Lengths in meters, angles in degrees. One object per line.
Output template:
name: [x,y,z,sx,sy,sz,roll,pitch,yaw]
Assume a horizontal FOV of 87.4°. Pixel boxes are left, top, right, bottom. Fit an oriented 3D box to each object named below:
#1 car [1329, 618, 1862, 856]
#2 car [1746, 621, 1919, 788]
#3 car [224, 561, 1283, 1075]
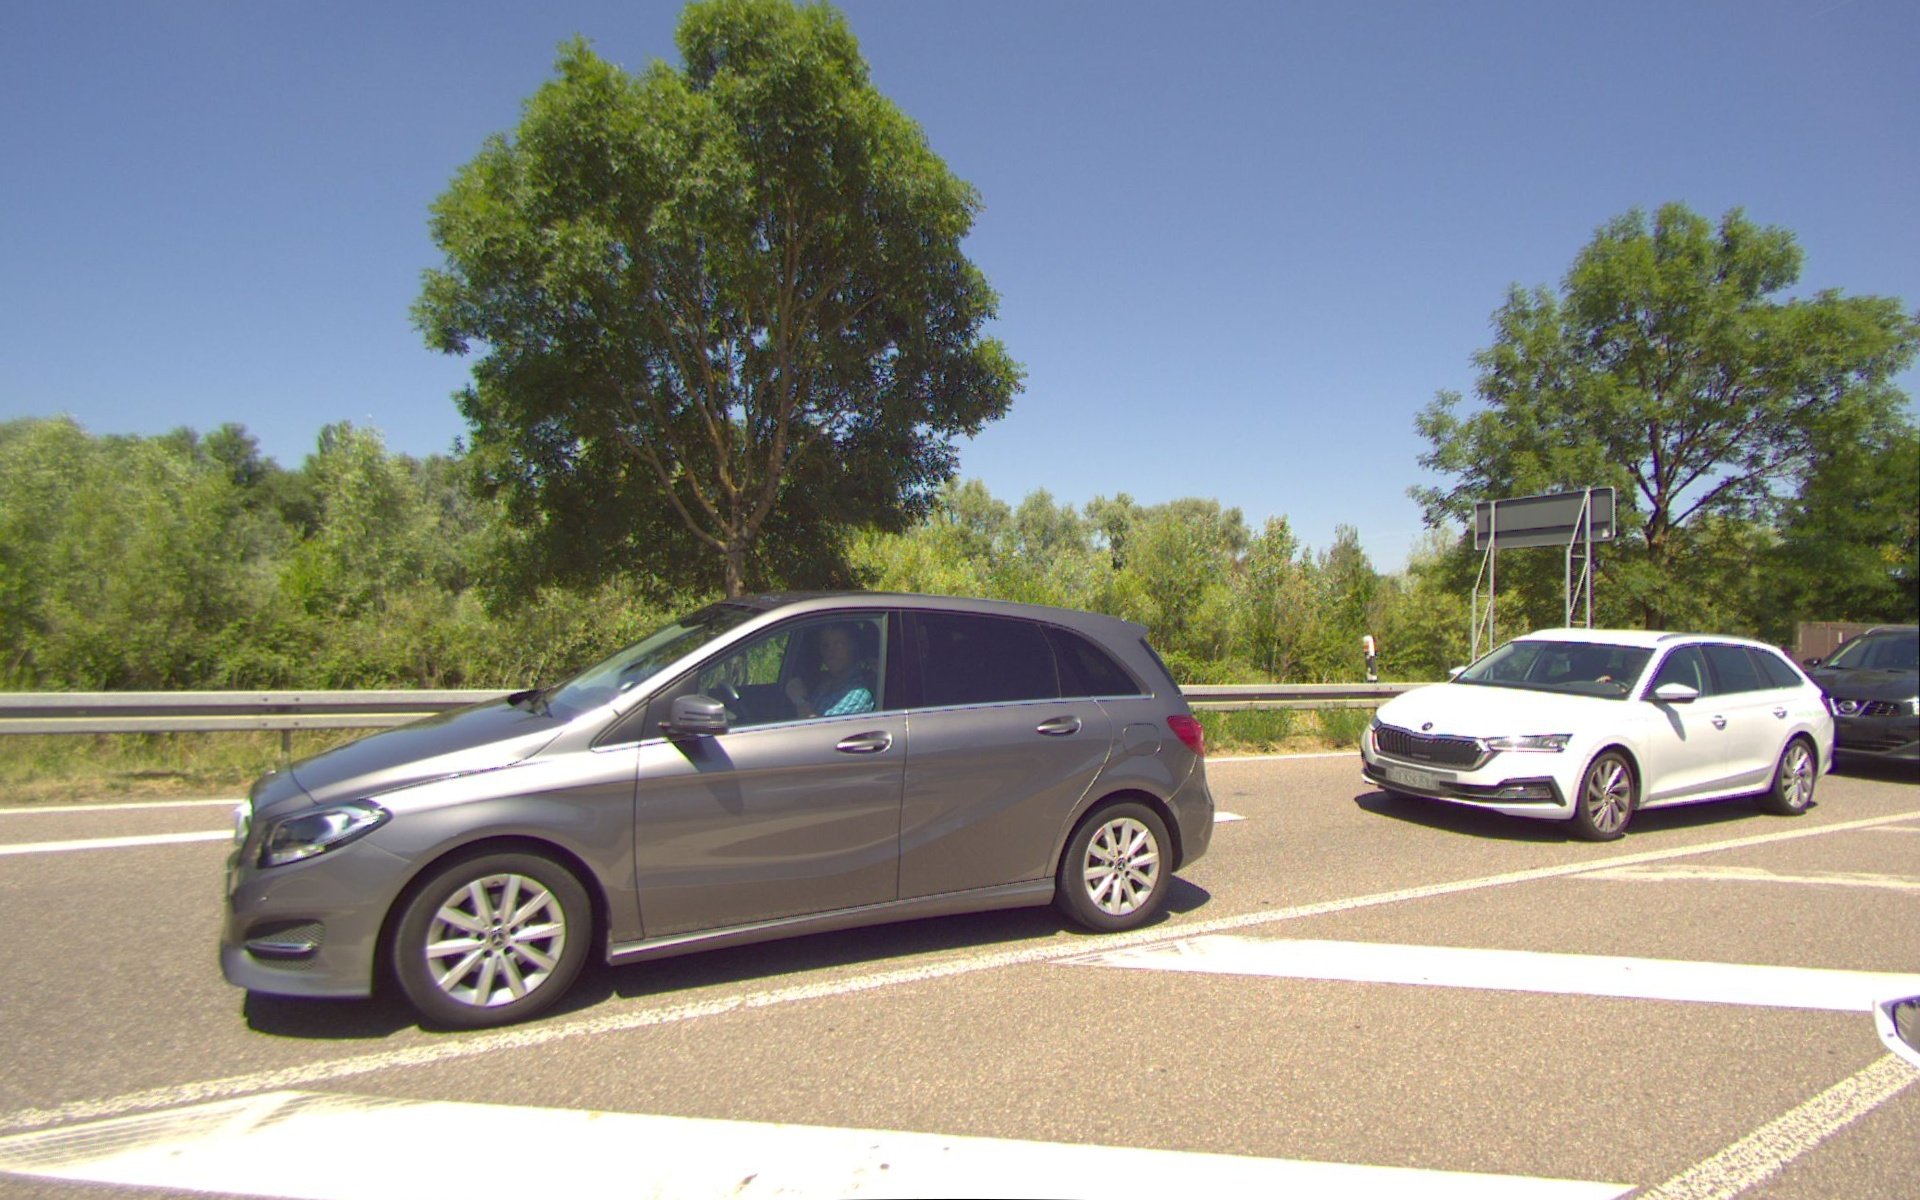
car: [5.322,0.955,8.268,4.572,1.498,1.647,2,0,-28]
car: [11.136,1.095,11.484,4.478,1.610,1.710,2,0,-28]
car: [-0.658,0.728,4.782,4.328,1.558,1.618,2,-2,-27]
